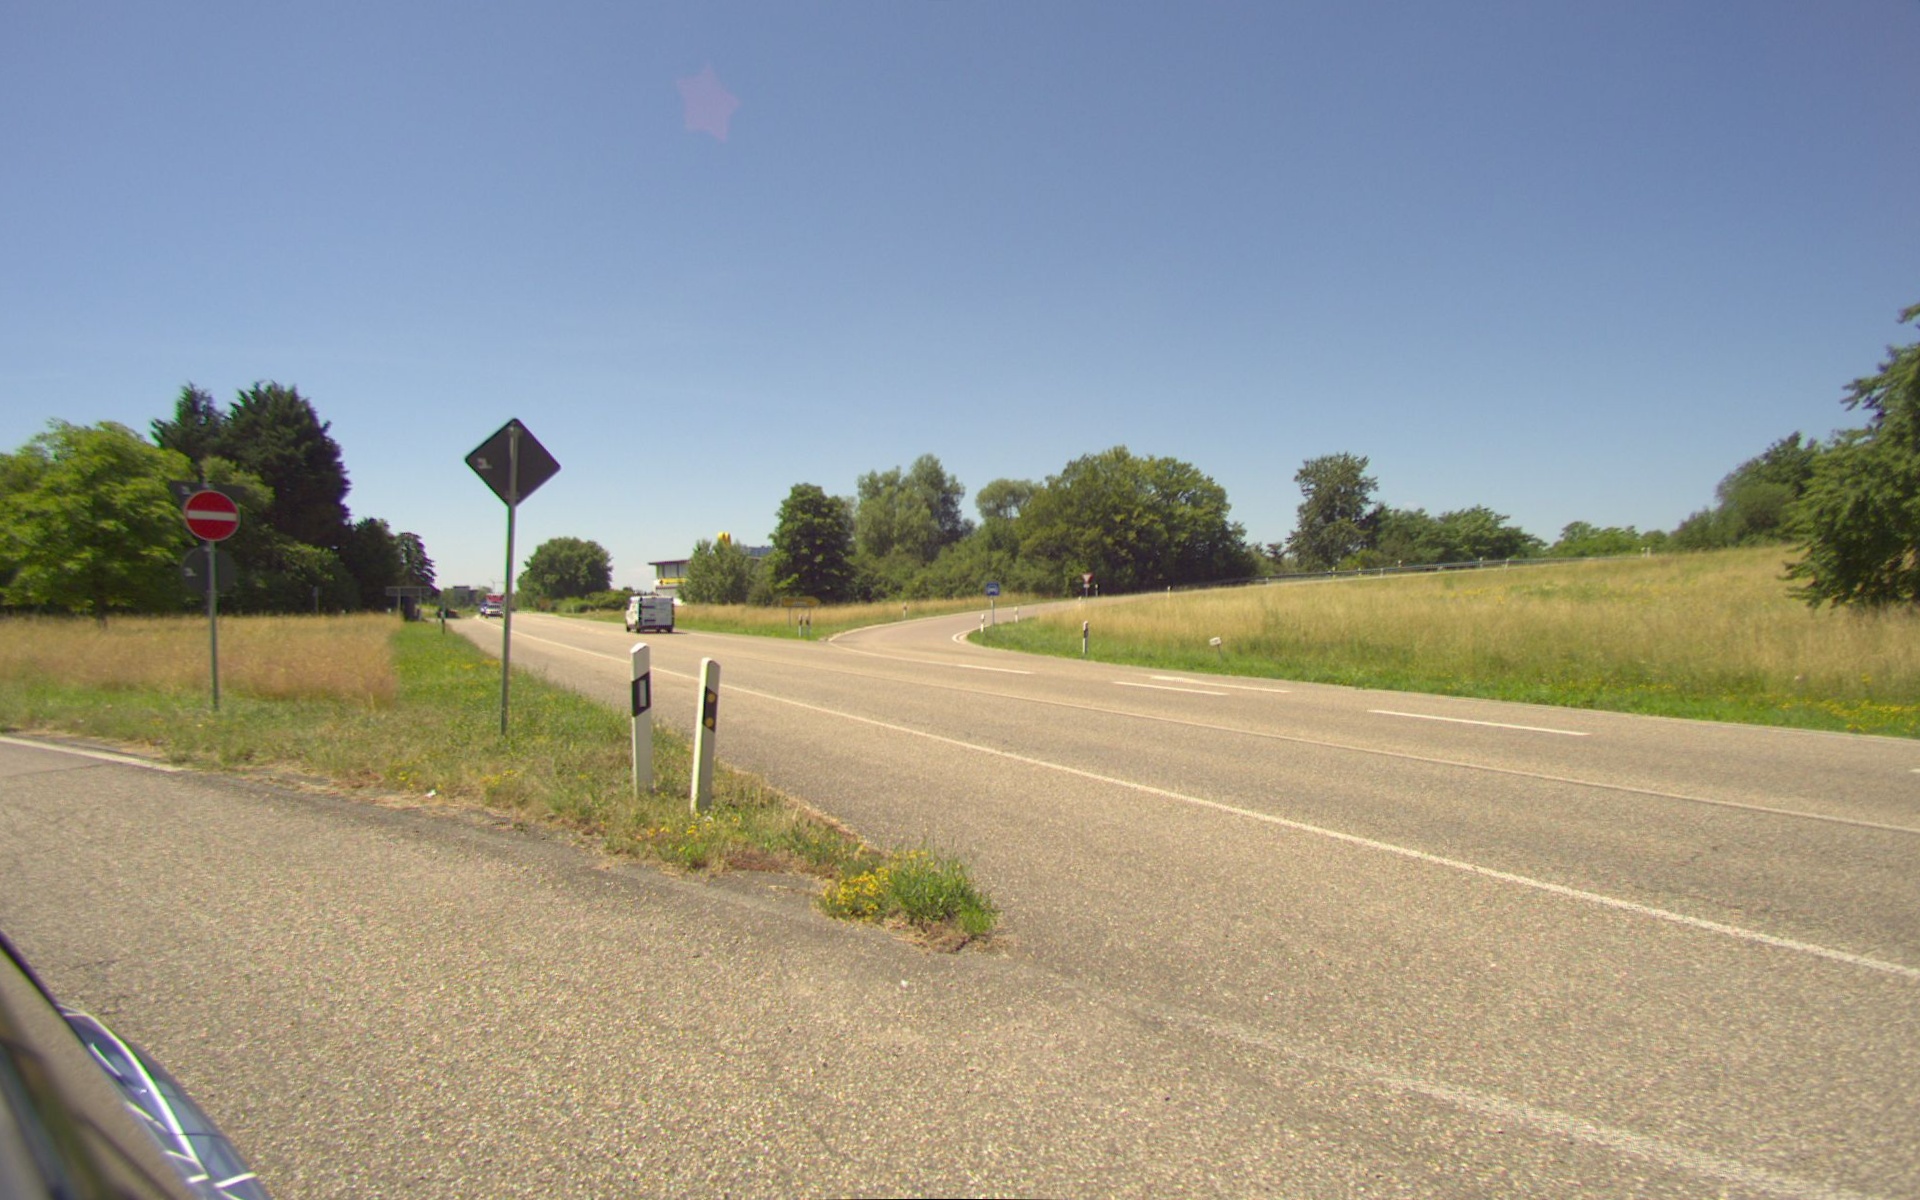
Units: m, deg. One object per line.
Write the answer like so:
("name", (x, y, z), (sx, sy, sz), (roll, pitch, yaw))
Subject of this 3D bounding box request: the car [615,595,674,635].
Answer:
("car", (-16.912, 0.861, 54.071), (1.882, 1.976, 5.410), (1, -3, -30))

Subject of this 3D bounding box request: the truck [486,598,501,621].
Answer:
("truck", (-68.241, 1.401, 148.115), (1.965, 3.201, 7.026), (1, -3, -24))

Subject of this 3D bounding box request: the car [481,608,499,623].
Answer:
("car", (-60.560, 1.979, 130.446), (1.882, 1.795, 4.470), (1, -3, -27))

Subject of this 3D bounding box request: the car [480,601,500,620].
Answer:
("car", (-52.584, 1.150, 113.215), (1.882, 1.976, 4.470), (1, -3, -27))
